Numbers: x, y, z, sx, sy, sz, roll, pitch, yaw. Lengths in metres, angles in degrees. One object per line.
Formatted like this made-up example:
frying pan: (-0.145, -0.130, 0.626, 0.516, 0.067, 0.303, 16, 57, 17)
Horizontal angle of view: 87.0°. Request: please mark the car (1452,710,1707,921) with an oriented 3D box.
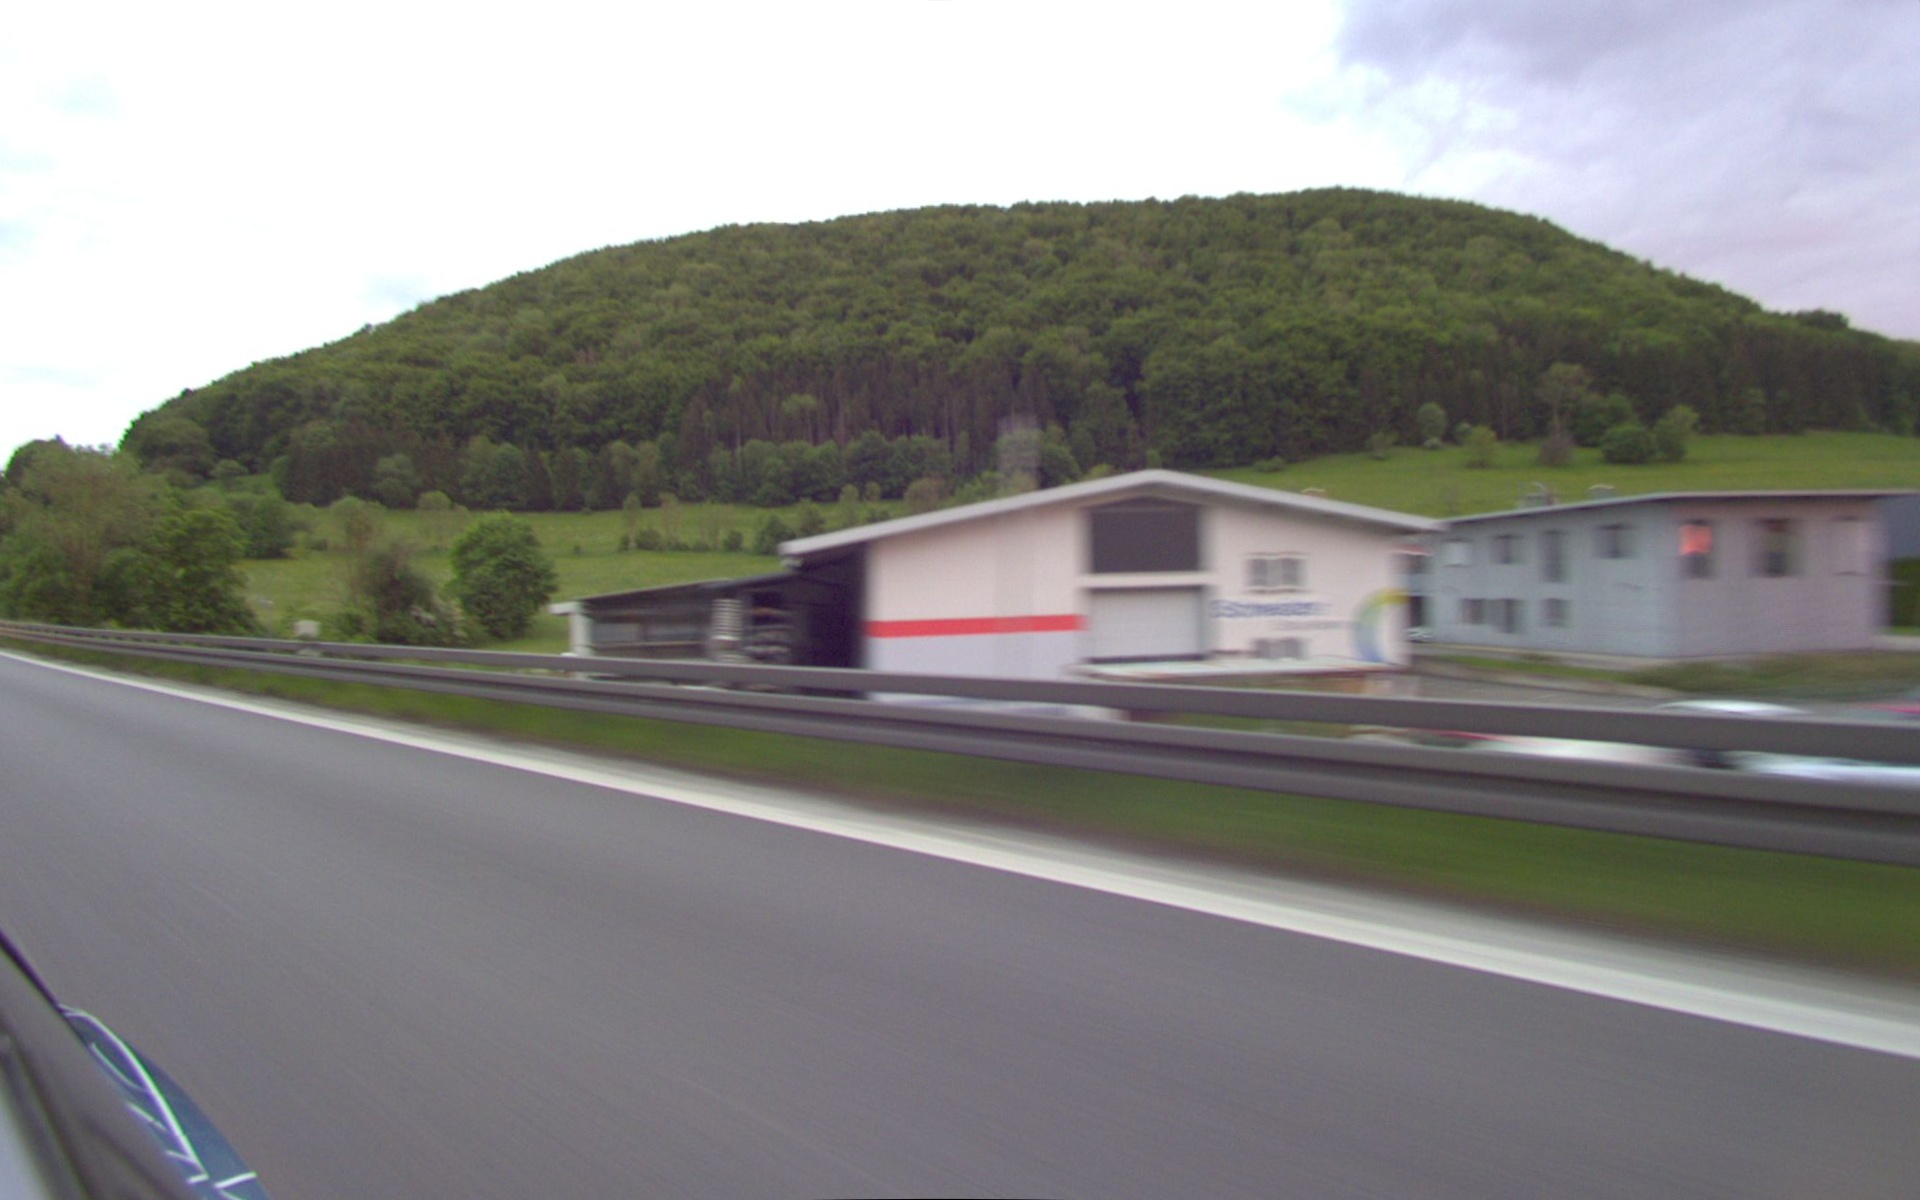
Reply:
car: (7.723, 2.440, 12.462, 3.941, 1.706, 1.774, -1, 0, -44)
